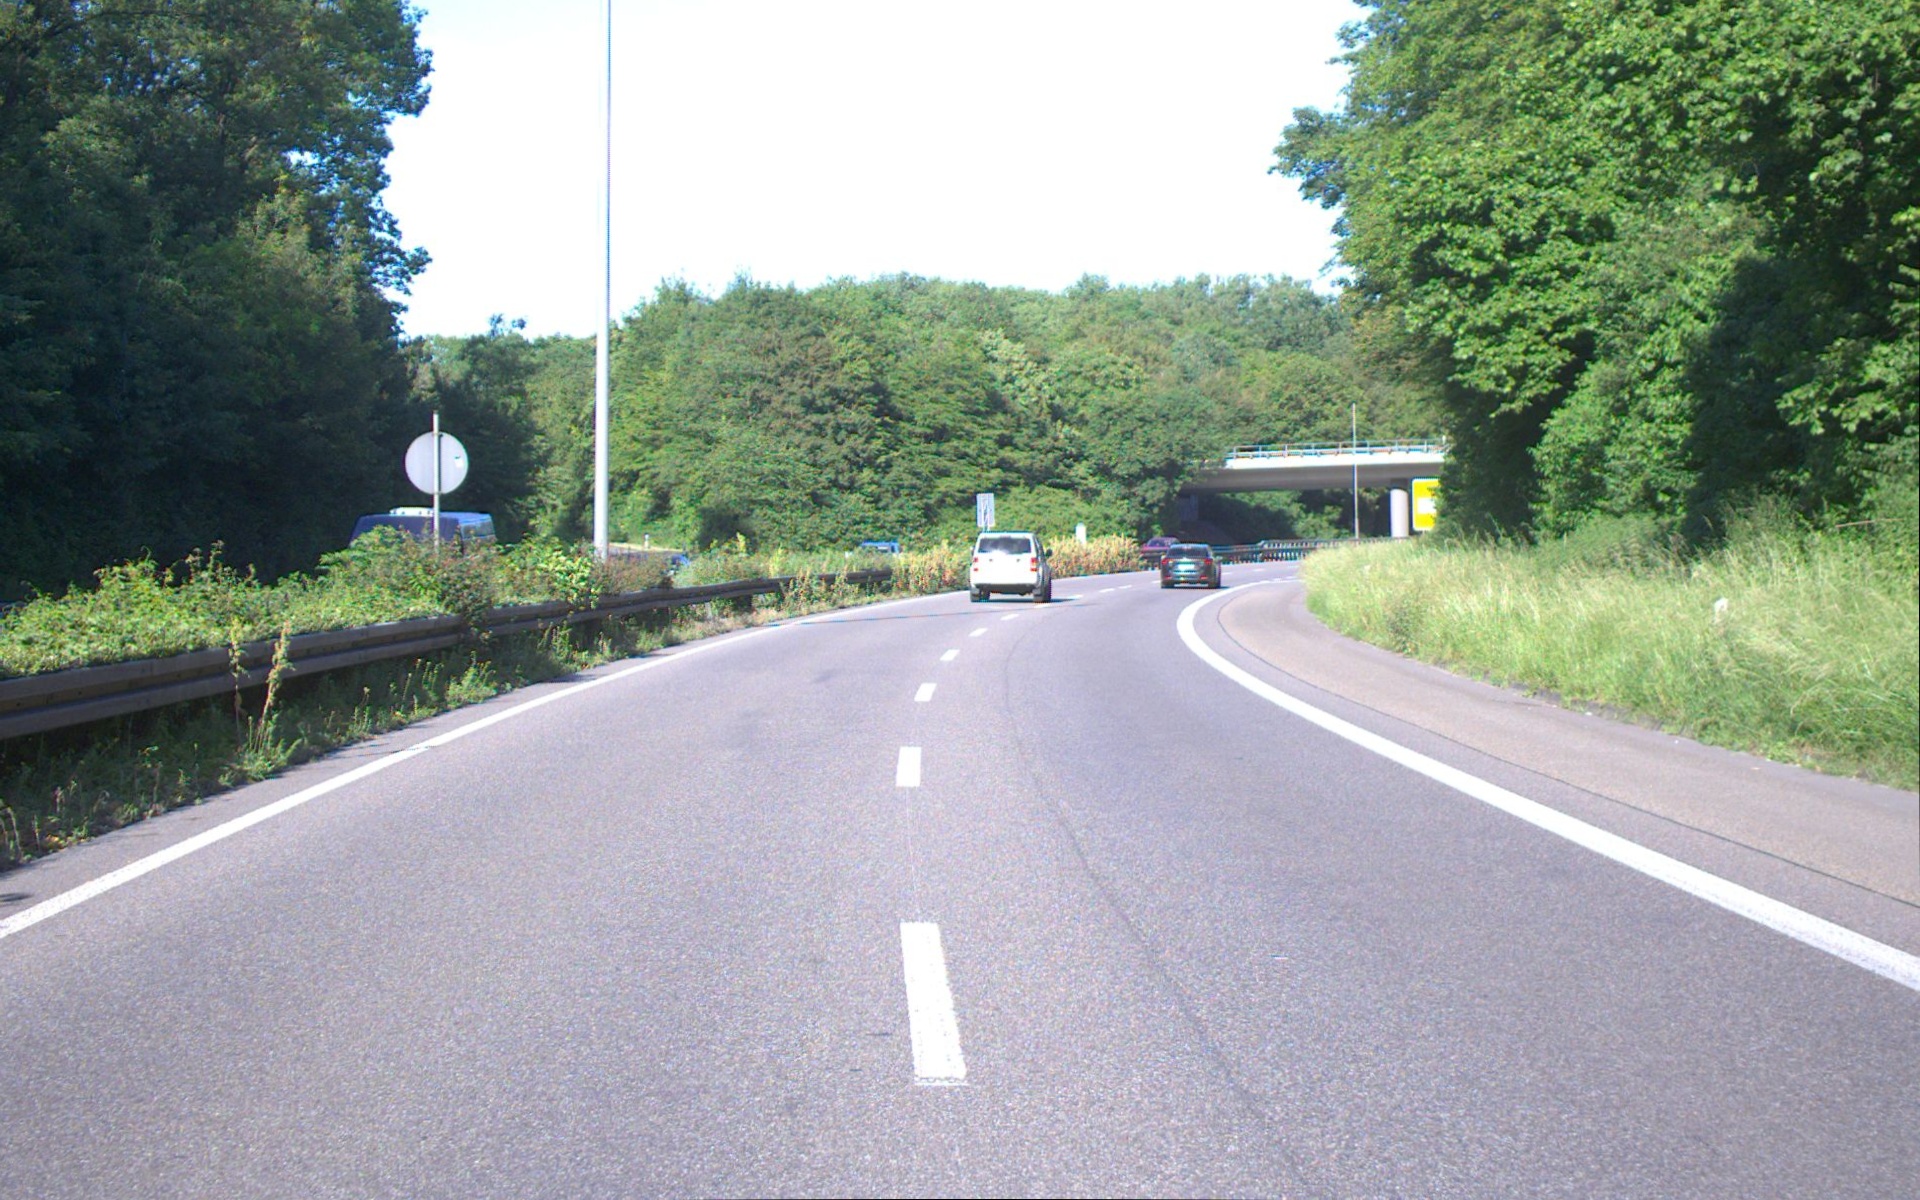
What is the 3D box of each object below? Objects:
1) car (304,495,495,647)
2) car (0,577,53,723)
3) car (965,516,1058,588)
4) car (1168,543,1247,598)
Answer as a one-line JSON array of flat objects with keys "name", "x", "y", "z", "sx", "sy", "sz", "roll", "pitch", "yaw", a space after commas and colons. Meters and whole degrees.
[{"name": "car", "x": -9.953, "y": -0.559, "z": 61.519, "sx": 2.075, "sy": 2.565, "sz": 5.784, "roll": 1, "pitch": 1, "yaw": 4}, {"name": "car", "x": -10.308, "y": 0.500, "z": 34.222, "sx": 1.649, "sy": 1.408, "sz": 3.778, "roll": 0, "pitch": 1, "yaw": -1}, {"name": "car", "x": 1.337, "y": -1.211, "z": 87.854, "sx": 1.952, "sy": 1.776, "sz": 4.587, "roll": 1, "pitch": 1, "yaw": 6}, {"name": "car", "x": 8.205, "y": -0.983, "z": 113.706, "sx": 1.952, "sy": 1.776, "sz": 4.585, "roll": 1, "pitch": 1, "yaw": 12}]
